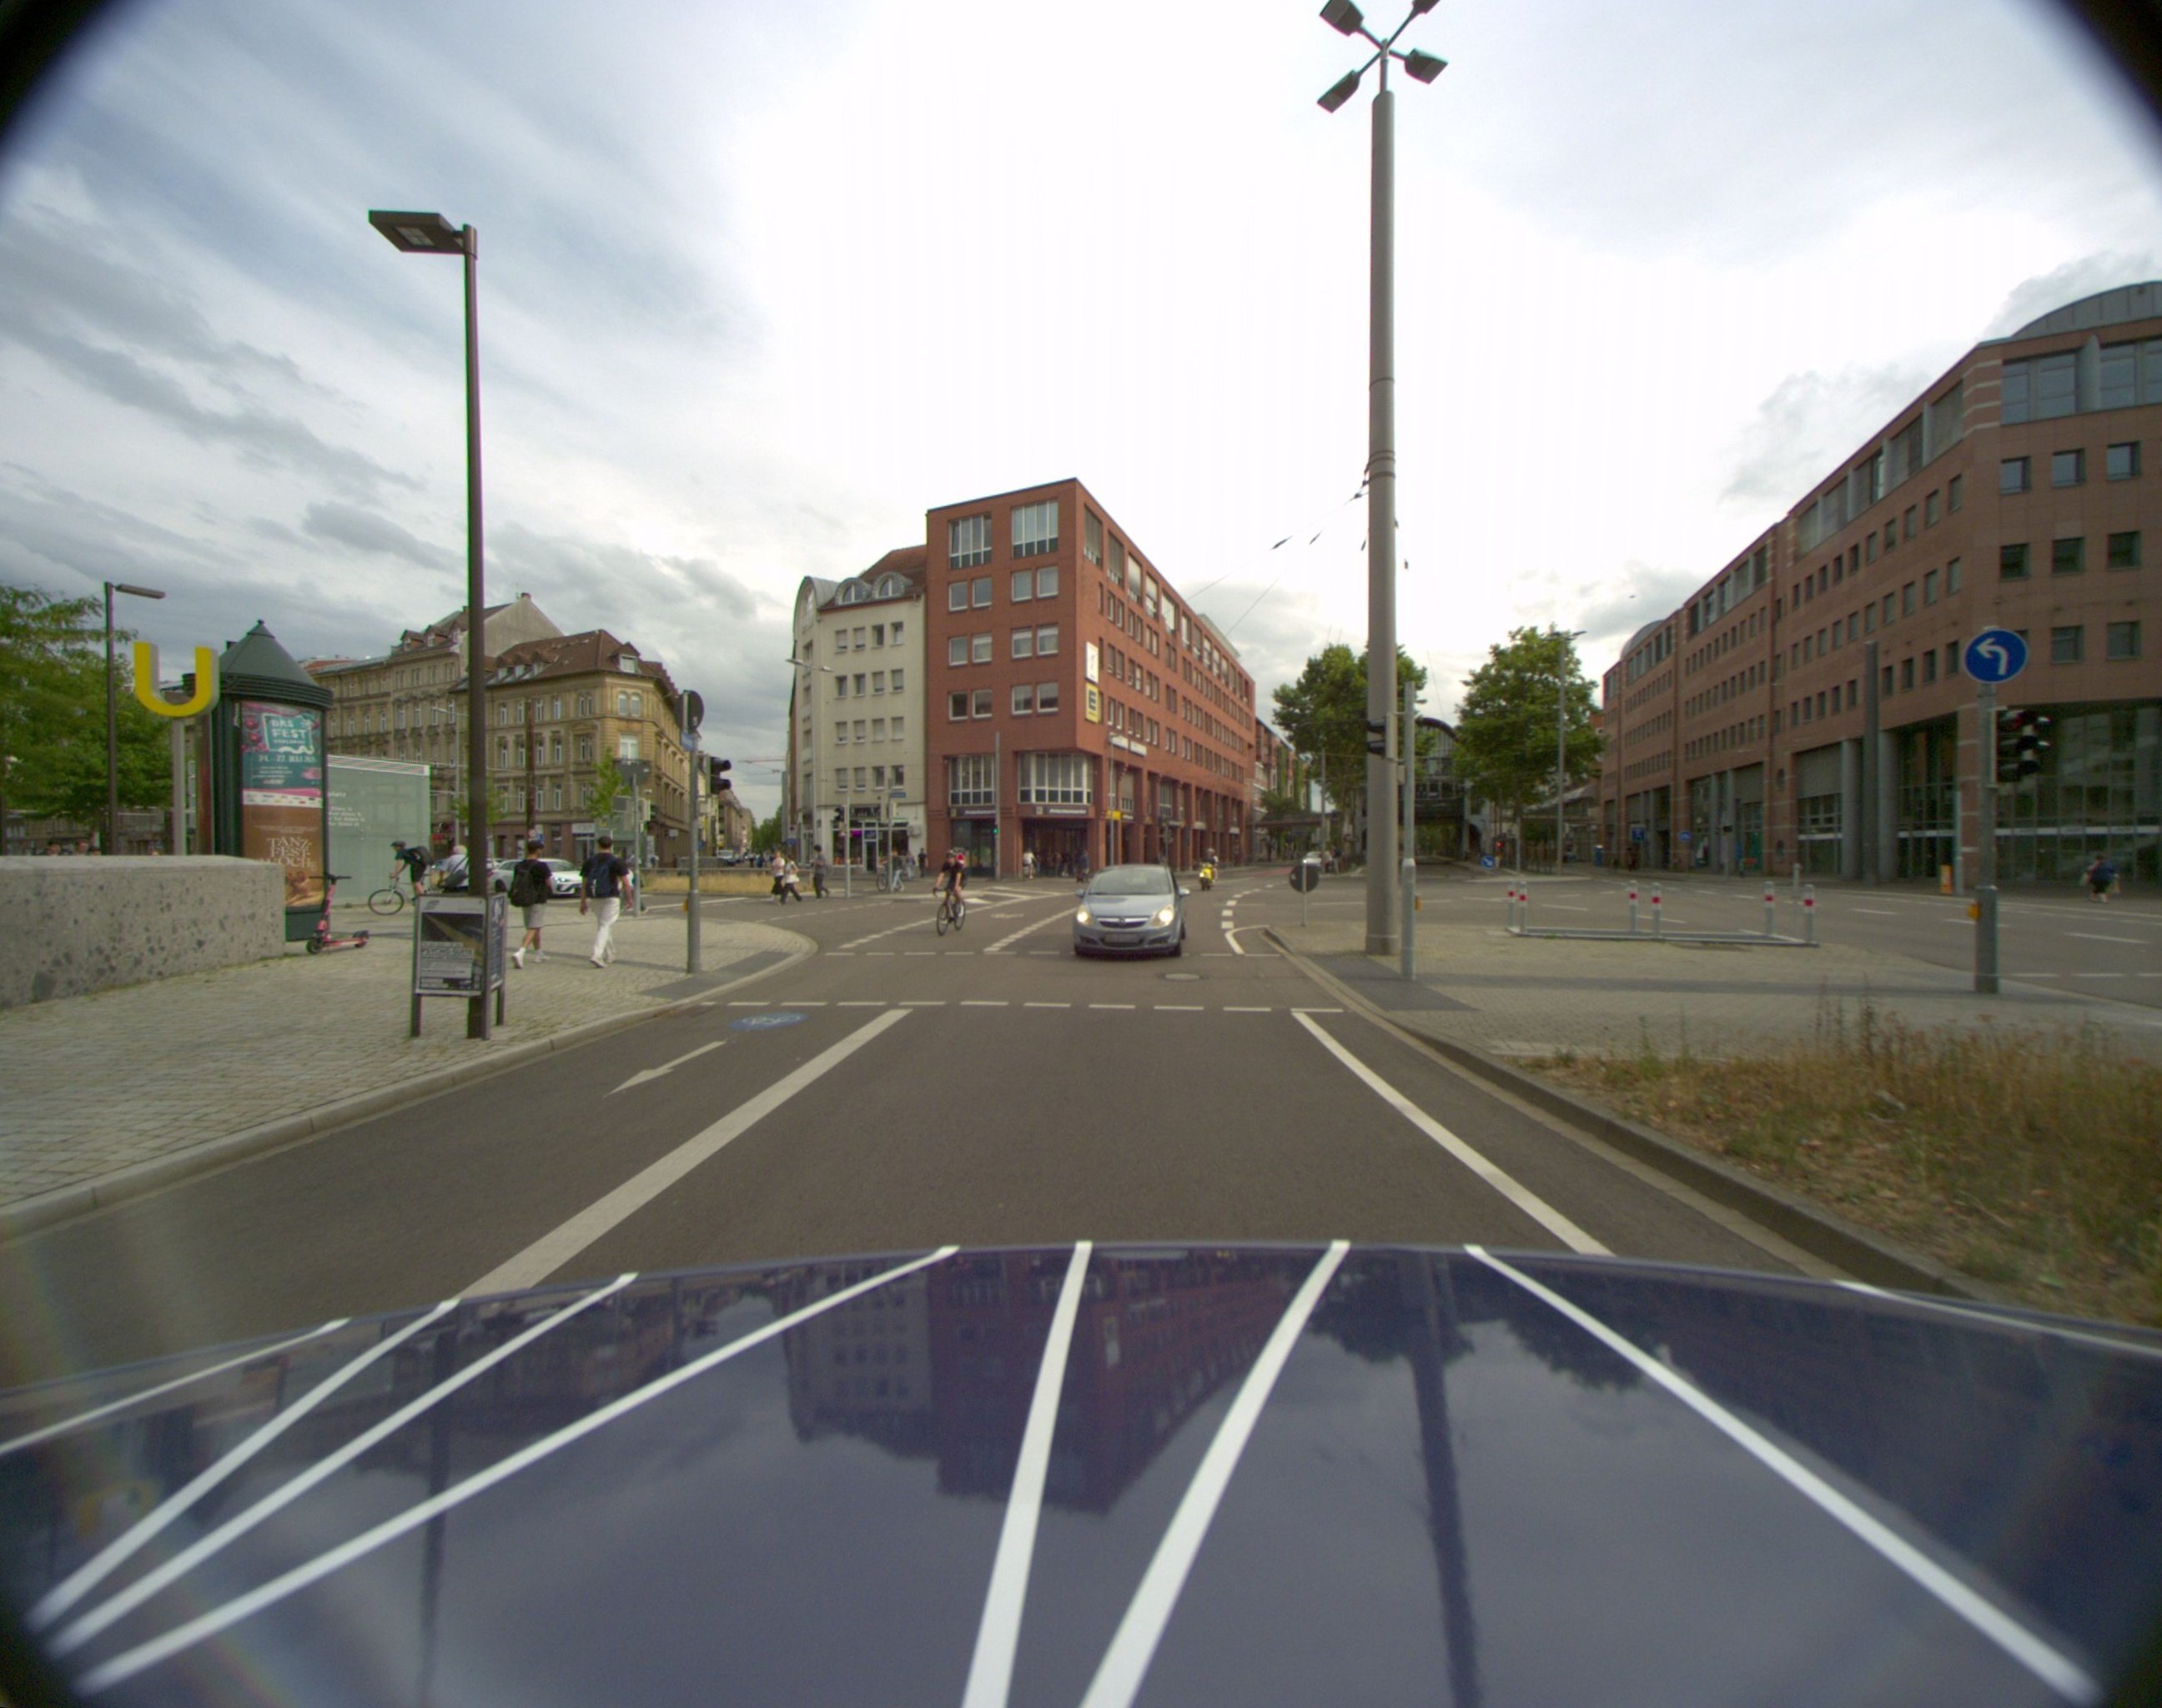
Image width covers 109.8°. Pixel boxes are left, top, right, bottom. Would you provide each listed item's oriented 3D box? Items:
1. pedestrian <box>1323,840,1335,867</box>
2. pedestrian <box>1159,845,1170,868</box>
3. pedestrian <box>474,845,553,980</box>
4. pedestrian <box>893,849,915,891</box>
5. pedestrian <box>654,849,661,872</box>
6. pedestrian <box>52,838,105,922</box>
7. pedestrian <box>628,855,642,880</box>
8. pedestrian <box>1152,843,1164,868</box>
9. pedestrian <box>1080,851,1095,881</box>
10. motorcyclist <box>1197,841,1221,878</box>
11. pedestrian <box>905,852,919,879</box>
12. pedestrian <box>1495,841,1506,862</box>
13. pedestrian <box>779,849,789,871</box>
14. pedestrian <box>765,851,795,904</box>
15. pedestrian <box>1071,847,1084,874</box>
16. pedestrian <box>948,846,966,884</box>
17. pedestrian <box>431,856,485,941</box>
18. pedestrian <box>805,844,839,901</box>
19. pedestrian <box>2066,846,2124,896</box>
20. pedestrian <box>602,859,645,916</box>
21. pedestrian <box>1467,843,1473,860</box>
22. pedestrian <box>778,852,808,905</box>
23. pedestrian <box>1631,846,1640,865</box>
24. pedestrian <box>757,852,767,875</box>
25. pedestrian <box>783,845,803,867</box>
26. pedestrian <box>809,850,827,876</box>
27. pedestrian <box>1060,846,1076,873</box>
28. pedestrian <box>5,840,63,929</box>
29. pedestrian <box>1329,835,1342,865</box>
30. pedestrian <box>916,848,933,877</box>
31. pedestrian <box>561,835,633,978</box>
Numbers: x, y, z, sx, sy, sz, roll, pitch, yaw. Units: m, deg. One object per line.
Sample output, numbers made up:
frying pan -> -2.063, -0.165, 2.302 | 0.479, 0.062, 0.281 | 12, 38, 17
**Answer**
pedestrian -> 16.306, -0.042, 50.025 | 0.534, 1.781, 0.578 | 1, 1, 43
pedestrian -> 5.973, 0.197, 54.325 | 0.406, 1.623, 0.733 | 3, 2, 31
pedestrian -> -7.879, 0.785, 10.583 | 0.677, 1.789, 0.884 | 2, 0, -26
pedestrian -> -7.201, 0.633, 30.892 | 0.520, 1.676, 0.727 | 0, 1, 24
pedestrian -> -30.244, 0.456, 54.281 | 0.425, 1.675, 0.514 | 0, 1, -34
pedestrian -> -22.426, 0.571, 17.001 | 0.489, 1.856, 0.585 | 0, 0, 19
pedestrian -> -29.996, 0.899, 51.099 | 0.606, 1.676, 0.731 | -6, 5, -43
pedestrian -> 5.325, 0.082, 52.561 | 0.646, 1.686, 0.699 | 2, 2, 21
pedestrian -> 0.377, 0.660, 41.891 | 0.639, 1.677, 0.601 | 0, 1, 23
motorcyclist -> 5.285, 0.216, 31.323 | 0.871, 1.508, 1.045 | 0, 1, 13
pedestrian -> -9.582, 0.633, 43.051 | 0.594, 1.502, 0.628 | -1, 1, -29
pedestrian -> 30.276, -0.178, 54.843 | 0.657, 1.529, 0.559 | 0, 3, 19
pedestrian -> -22.976, 0.453, 58.788 | 0.542, 1.712, 0.518 | -1, 2, -38
pedestrian -> -9.796, 0.755, 24.717 | 0.633, 1.685, 0.708 | 1, 1, 41
pedestrian -> -0.218, 0.412, 48.284 | 0.647, 1.679, 0.651 | 0, 2, 23
pedestrian -> -5.912, 0.517, 36.126 | 0.568, 1.813, 0.697 | 0, 0, 23
pedestrian -> -13.211, 0.908, 16.111 | 0.935, 1.730, 0.687 | 1, 1, 37
pedestrian -> -8.593, 0.607, 25.231 | 0.639, 1.843, 0.878 | 0, 1, 23
pedestrian -> 30.430, 0.500, 22.812 | 0.797, 1.464, 0.685 | 0, 1, 24
pedestrian -> -12.580, 0.902, 20.921 | 0.552, 1.493, 0.847 | 0, 3, 7
pedestrian -> 40.603, -0.306, 79.246 | 0.481, 1.761, 0.482 | 0, 1, 16
pedestrian -> -9.188, 0.765, 24.257 | 0.469, 1.676, 0.797 | 0, 1, 18
pedestrian -> 47.044, 0.110, 64.462 | 0.528, 1.564, 0.602 | 0, 1, 23
pedestrian -> -24.383, 0.727, 58.119 | 0.593, 1.712, 0.518 | -1, 2, -37
pedestrian -> -24.836, 0.162, 65.587 | 1.163, 1.818, 1.132 | 0, 1, 14
pedestrian -> -16.496, 0.575, 47.613 | 0.791, 1.617, 0.718 | 0, 1, 29
pedestrian -> -0.850, 0.352, 48.722 | 0.647, 1.704, 1.058 | 0, 2, 23
pedestrian -> -22.521, 0.645, 16.344 | 0.547, 1.856, 0.585 | 0, 0, 19
pedestrian -> 15.992, -0.274, 47.699 | 0.692, 1.864, 0.808 | 0, 1, 24
pedestrian -> -8.895, 0.501, 43.207 | 0.708, 1.638, 0.720 | -1, 0, -29
pedestrian -> -6.965, 0.727, 10.974 | 0.722, 1.959, 1.012 | 2, 0, -27
